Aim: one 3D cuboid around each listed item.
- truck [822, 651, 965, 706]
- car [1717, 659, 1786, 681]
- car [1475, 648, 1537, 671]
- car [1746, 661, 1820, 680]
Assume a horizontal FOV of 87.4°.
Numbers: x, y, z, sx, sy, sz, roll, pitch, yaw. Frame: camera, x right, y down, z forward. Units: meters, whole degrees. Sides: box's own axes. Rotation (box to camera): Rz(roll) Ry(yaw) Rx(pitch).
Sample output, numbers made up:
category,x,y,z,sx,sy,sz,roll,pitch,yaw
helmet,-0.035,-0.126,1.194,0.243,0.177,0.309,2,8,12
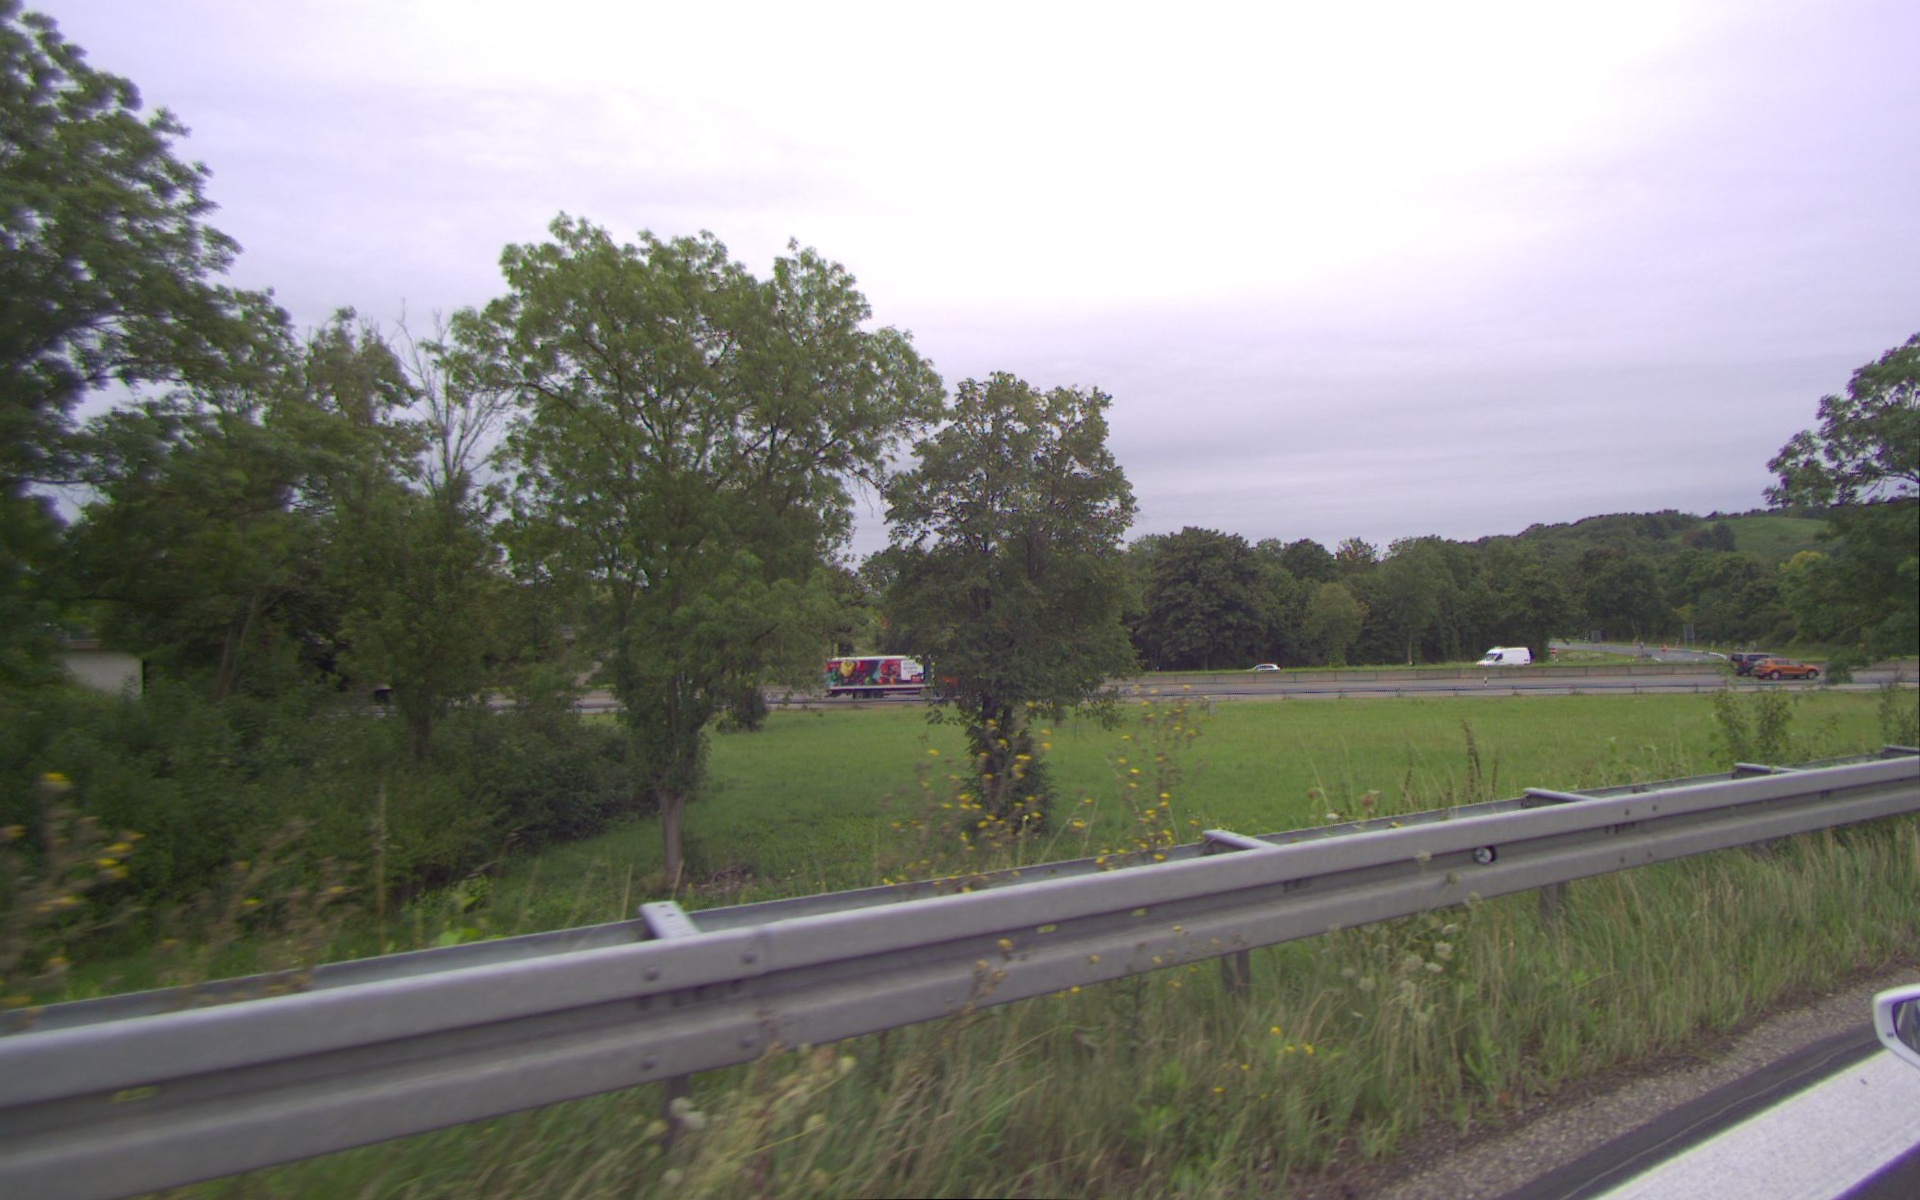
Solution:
category,x,y,z,sx,sy,sz,roll,pitch,yaw
truck,-5.360,6.382,82.024,11.198,4.058,2.908,-2,-2,6
car,64.737,5.718,82.221,3.919,1.683,2.002,0,-1,10
car,59.032,6.415,108.564,5.860,2.129,2.024,-1,-5,-12
car,64.057,5.499,78.222,3.919,1.293,1.934,-3,-6,7
